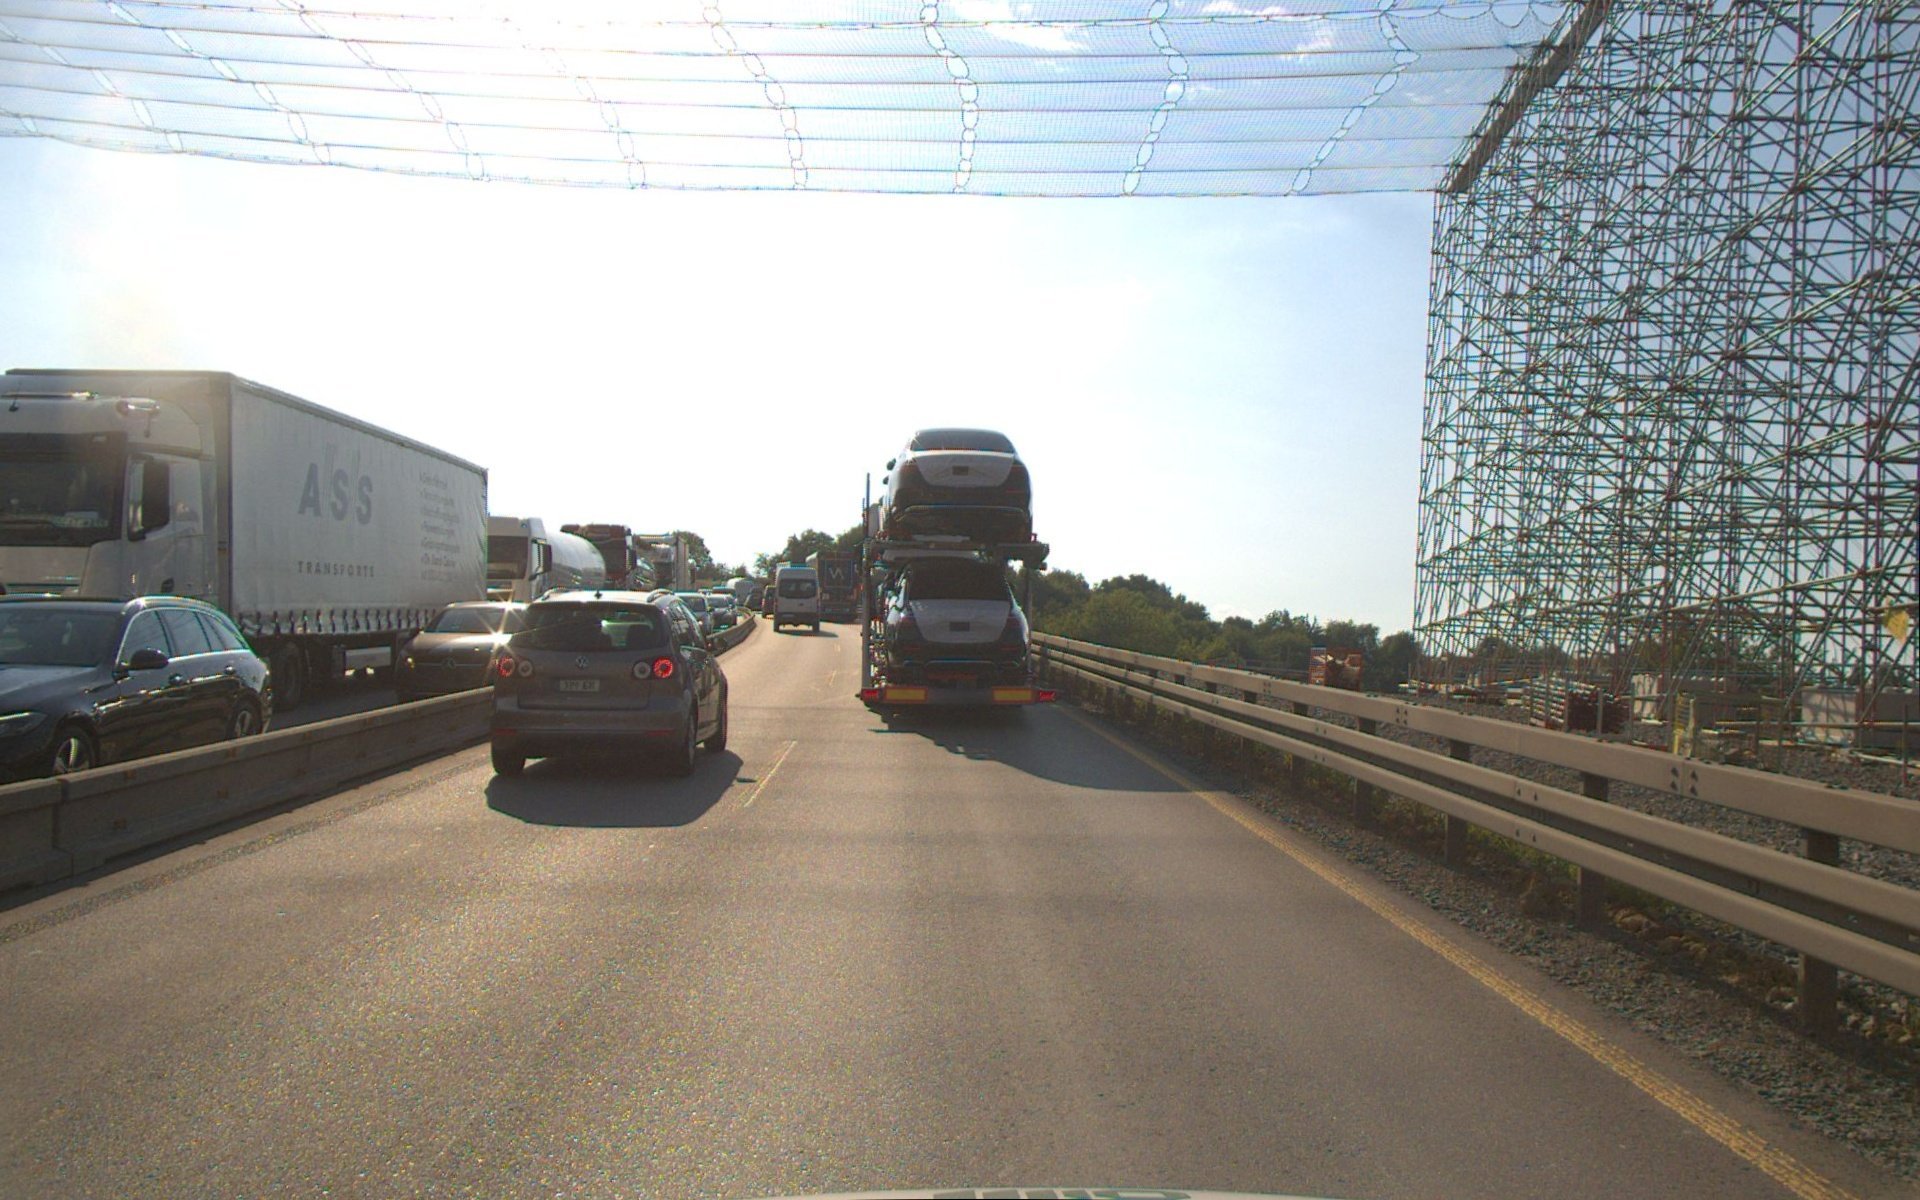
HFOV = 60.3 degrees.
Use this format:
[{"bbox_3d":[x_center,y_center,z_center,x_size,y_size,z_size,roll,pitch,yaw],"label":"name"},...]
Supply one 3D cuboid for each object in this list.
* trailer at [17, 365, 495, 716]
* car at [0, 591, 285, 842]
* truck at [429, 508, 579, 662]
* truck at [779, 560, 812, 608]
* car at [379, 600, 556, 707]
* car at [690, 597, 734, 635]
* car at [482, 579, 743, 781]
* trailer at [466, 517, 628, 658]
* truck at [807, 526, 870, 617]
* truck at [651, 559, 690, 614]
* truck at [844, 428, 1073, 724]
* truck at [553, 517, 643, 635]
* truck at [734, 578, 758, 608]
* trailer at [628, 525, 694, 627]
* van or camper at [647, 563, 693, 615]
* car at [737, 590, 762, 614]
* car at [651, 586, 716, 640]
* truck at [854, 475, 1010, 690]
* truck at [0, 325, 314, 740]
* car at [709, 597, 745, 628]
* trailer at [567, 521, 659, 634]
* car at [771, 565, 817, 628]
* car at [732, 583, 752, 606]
[{"bbox_3d":[-10.133,-0.663,26.230,2.379,4.032,14.087,1,0,-4],"label":"trailer"},{"bbox_3d":[-6.605,0.679,11.918,1.742,1.475,4.660,1,0,-3],"label":"car"},{"bbox_3d":[-10.938,-0.321,40.163,2.366,3.429,5.613,1,0,-4],"label":"truck"},{"bbox_3d":[-13.230,-1.205,133.217,2.482,3.712,8.894,1,0,-6],"label":"truck"},{"bbox_3d":[-7.013,0.720,23.895,1.575,1.400,3.898,1,0,-4],"label":"car"},{"bbox_3d":[-10.010,0.624,67.055,1.596,1.451,4.381,1,0,-7],"label":"car"},{"bbox_3d":[-3.084,0.660,15.439,1.657,1.624,3.999,1,0,-2],"label":"car"},{"bbox_3d":[-11.355,-0.284,46.684,2.261,3.420,12.042,1,0,-4],"label":"trailer"},{"bbox_3d":[-7.635,-1.648,102.422,3.224,5.328,9.918,1,0,-8],"label":"truck"},{"bbox_3d":[-20.747,-0.945,118.607,2.553,3.820,6.503,1,0,-9],"label":"truck"},{"bbox_3d":[-0.255,-0.267,25.443,2.743,3.558,10.599,1,0,-3],"label":"truck"},{"bbox_3d":[-12.428,-0.770,57.093,2.386,3.851,5.609,1,0,-6],"label":"truck"},{"bbox_3d":[-24.094,-0.743,185.683,2.542,3.226,6.664,1,0,-8],"label":"truck"},{"bbox_3d":[-13.906,-1.023,77.419,2.429,4.404,10.493,1,0,-7],"label":"trailer"},{"bbox_3d":[-17.203,-0.615,98.458,2.363,2.942,7.603,1,0,-8],"label":"van or camper"},{"bbox_3d":[-16.559,0.162,130.129,1.791,1.803,3.994,1,0,-6],"label":"car"},{"bbox_3d":[-8.623,0.394,51.845,1.717,1.614,3.938,1,0,-6],"label":"car"},{"bbox_3d":[-0.752,-0.292,34.902,2.781,3.858,9.980,1,0,-3],"label":"truck"},{"bbox_3d":[-9.724,-0.671,19.256,2.424,4.116,5.613,1,0,-4],"label":"truck"},{"bbox_3d":[-11.590,0.605,82.566,1.596,1.451,4.651,1,0,-6],"label":"car"},{"bbox_3d":[-13.016,-0.752,62.890,2.263,3.856,12.034,1,0,-7],"label":"trailer"},{"bbox_3d":[-7.123,-0.132,70.942,1.884,2.536,5.401,1,0,-6],"label":"car"},{"bbox_3d":[-19.482,-0.467,147.849,1.600,2.049,3.990,1,0,-10],"label":"car"}]
